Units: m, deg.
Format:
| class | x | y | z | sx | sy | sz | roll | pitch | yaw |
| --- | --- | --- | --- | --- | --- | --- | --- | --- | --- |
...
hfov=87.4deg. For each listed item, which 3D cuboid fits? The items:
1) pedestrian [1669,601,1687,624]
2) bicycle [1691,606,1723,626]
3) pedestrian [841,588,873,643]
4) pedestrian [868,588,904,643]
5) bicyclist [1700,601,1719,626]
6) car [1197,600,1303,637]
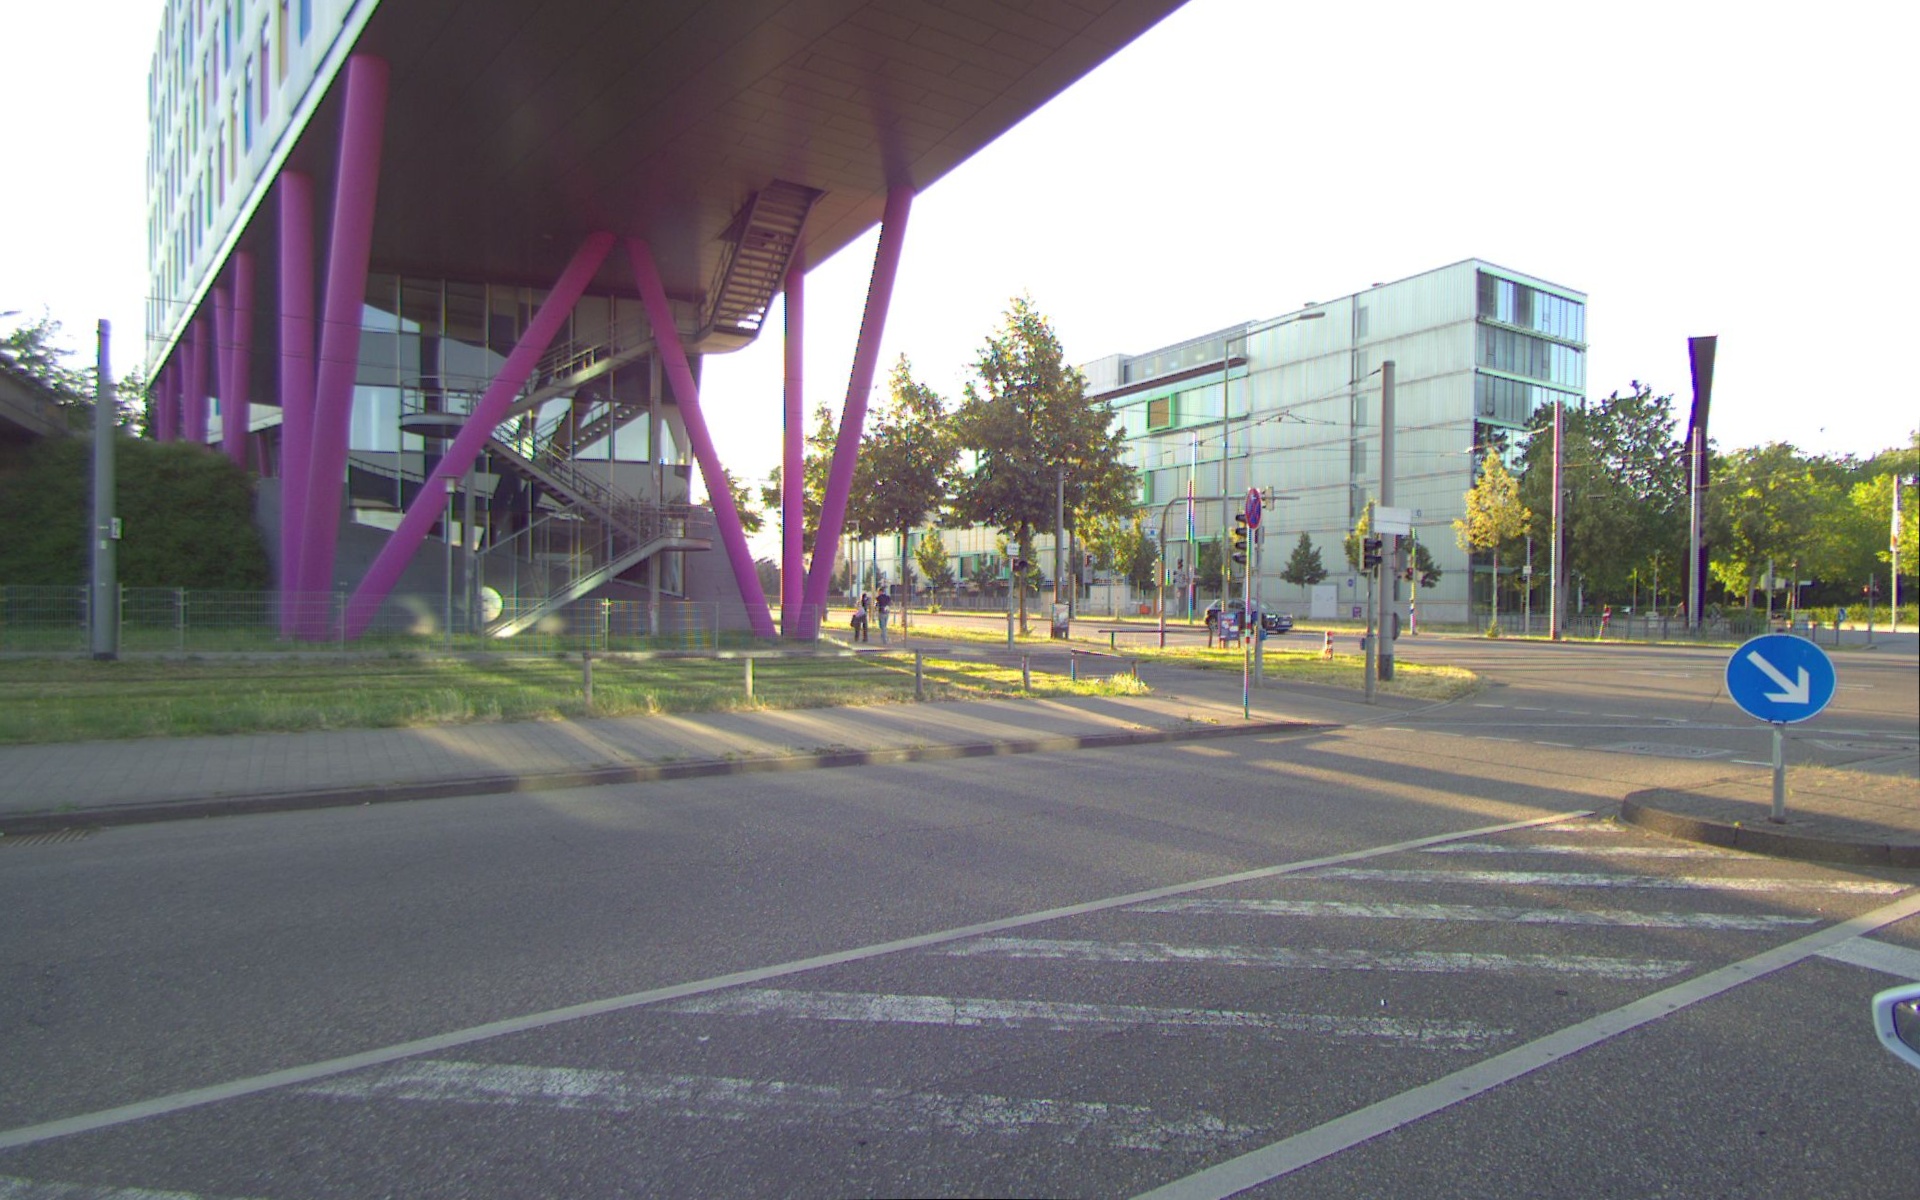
| class | x | y | z | sx | sy | sz | roll | pitch | yaw |
| --- | --- | --- | --- | --- | --- | --- | --- | --- | --- |
| pedestrian | 57.564 | 1.004 | 80.543 | 0.814 | 1.767 | 0.863 | 1 | 0 | -1 |
| bicycle | 53.016 | 1.143 | 71.324 | 0.717 | 1.359 | 2.692 | 1 | 0 | 10 |
| pedestrian | -3.344 | 0.514 | 32.627 | 0.755 | 1.727 | 0.881 | 1 | -2 | -29 |
| pedestrian | -2.450 | 0.521 | 33.042 | 0.921 | 1.747 | 0.877 | 1 | -2 | -28 |
| bicyclist | 52.990 | 0.939 | 70.988 | 0.738 | 1.732 | 0.920 | 1 | 0 | 11 |
| car | 13.274 | 0.804 | 46.214 | 1.968 | 1.577 | 4.448 | 1 | 0 | -34 |
